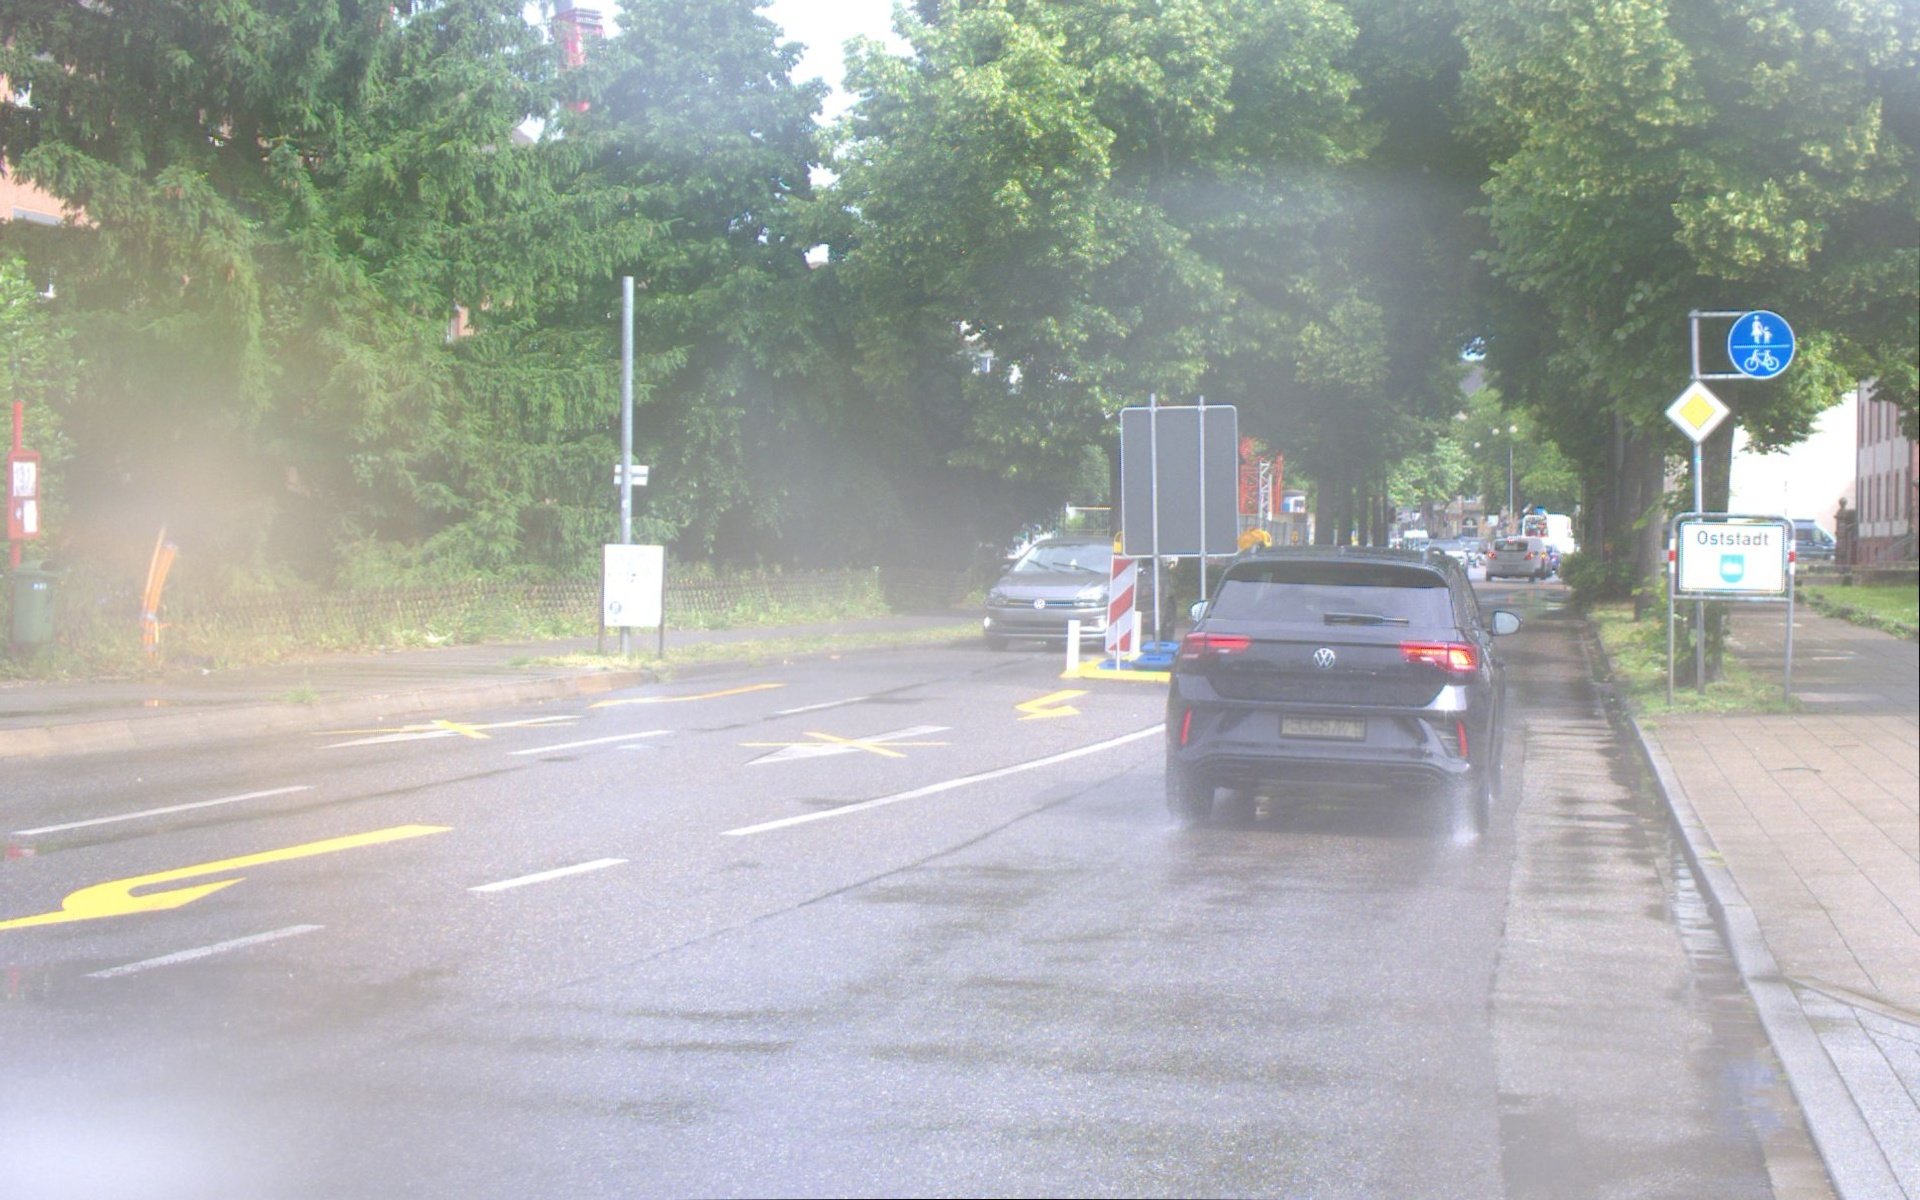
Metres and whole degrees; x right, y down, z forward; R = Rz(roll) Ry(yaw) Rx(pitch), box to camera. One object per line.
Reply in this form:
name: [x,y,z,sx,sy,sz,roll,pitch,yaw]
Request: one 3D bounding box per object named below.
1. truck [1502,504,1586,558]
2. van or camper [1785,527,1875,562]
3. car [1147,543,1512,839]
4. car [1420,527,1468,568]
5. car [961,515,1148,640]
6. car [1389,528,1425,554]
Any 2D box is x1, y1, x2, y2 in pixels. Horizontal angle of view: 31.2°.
truck: [30.512,-3.643,179.934,2.805,2.647,8.242,1,2,-1]
van or camper: [50.098,-3.208,198.083,4.877,1.919,2.130,2,2,11]
car: [2.216,0.448,20.289,1.895,1.517,3.999,1,1,7]
car: [21.064,-2.297,149.395,1.887,1.707,4.228,0,1,10]
car: [1.249,-0.322,43.987,1.681,1.503,3.791,1,2,13]
car: [27.419,-3.599,210.800,1.592,1.507,3.729,-2,1,16]
